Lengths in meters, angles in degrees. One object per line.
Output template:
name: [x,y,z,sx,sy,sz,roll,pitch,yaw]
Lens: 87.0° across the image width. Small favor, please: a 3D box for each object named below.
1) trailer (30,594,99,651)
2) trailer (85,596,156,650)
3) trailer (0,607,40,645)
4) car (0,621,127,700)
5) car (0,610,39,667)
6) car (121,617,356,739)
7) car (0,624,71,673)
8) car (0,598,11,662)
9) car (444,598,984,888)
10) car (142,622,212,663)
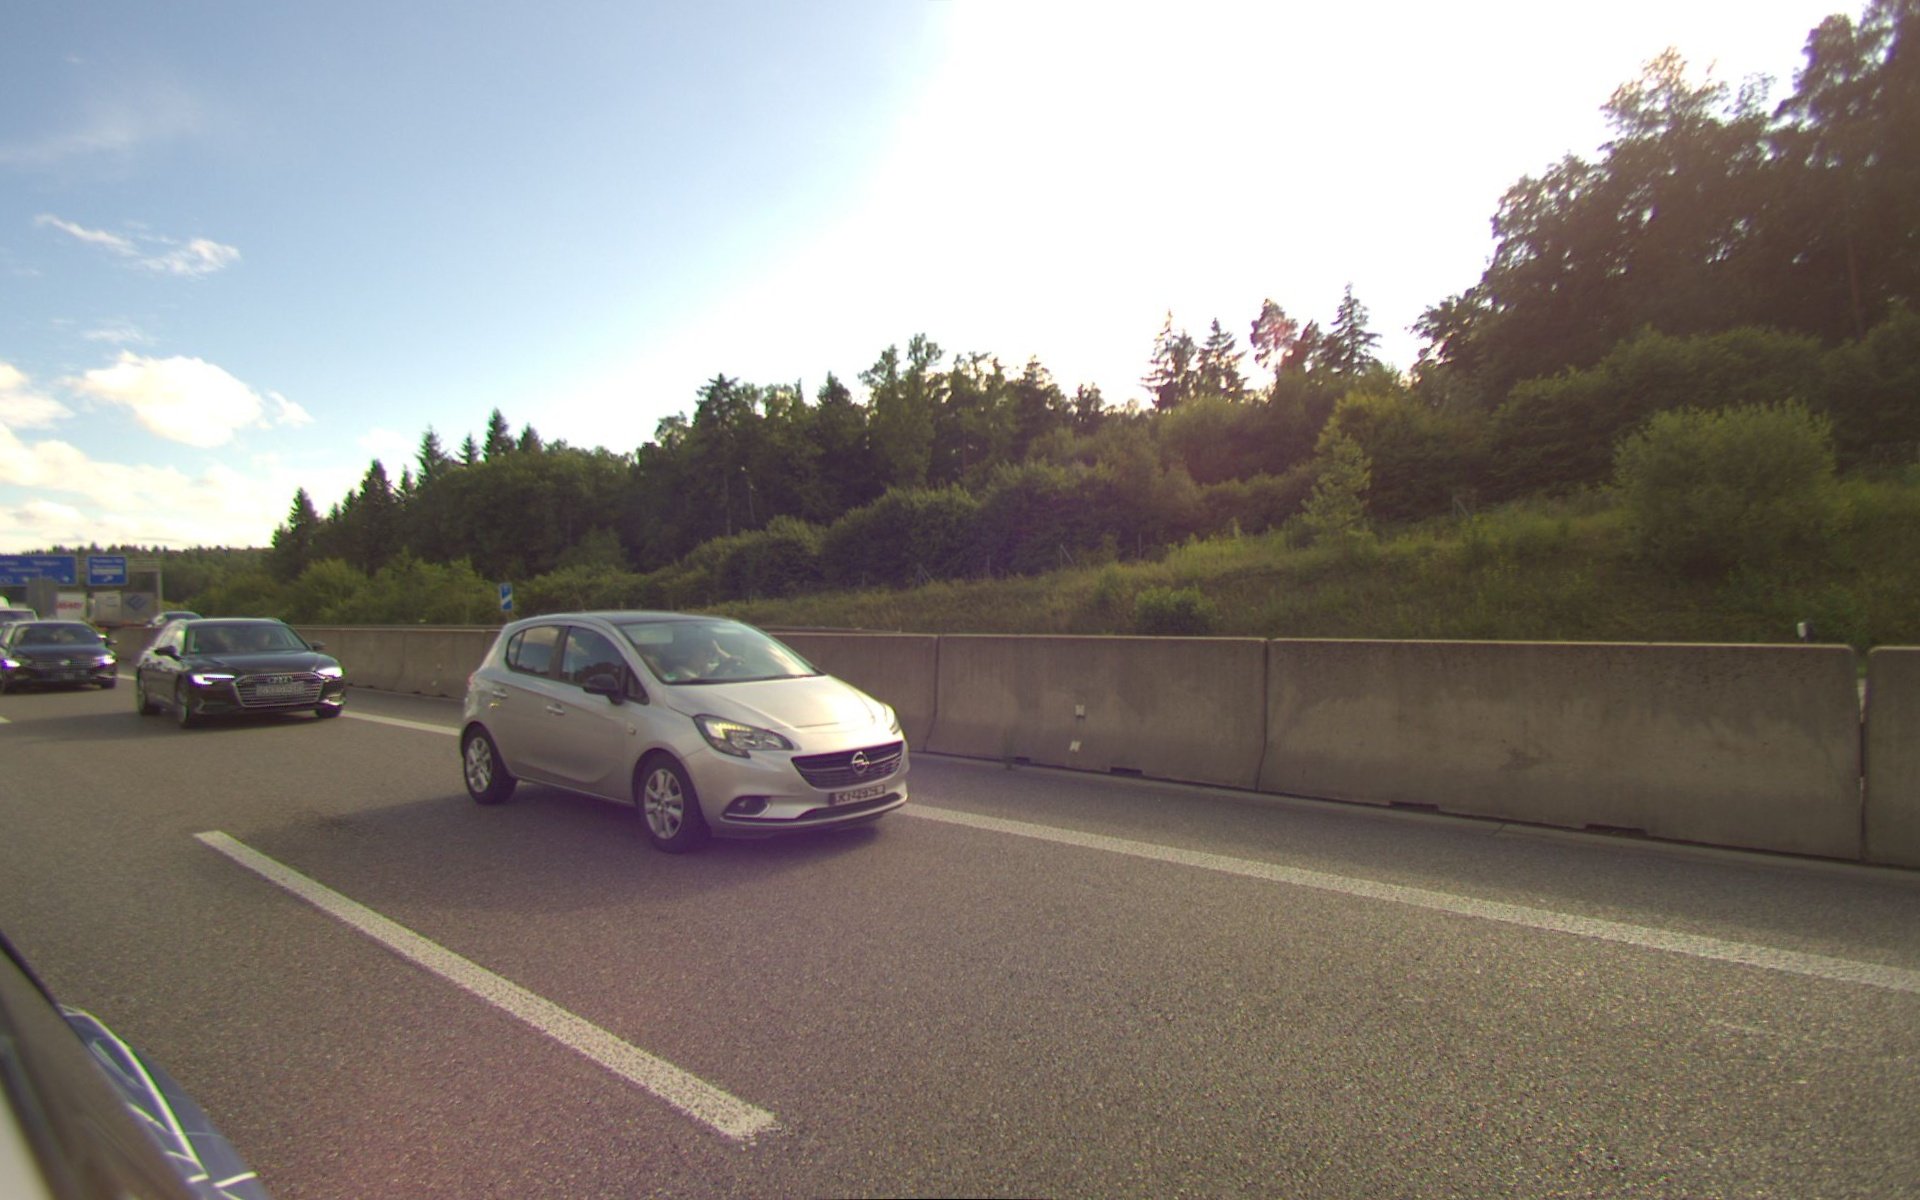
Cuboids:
trailer: [-85.688,2.085,96.704,13.826,5.112,3.056,-1,0,41]
trailer: [-80.543,2.109,96.946,14.646,4.866,2.896,-1,0,41]
trailer: [-138.232,3.715,148.646,13.828,5.320,3.011,-1,0,41]
car: [-19.391,1.206,21.661,4.569,1.489,1.890,-1,-1,44]
car: [-35.248,1.384,36.948,4.846,1.980,1.922,-1,-1,42]
car: [-10.775,1.031,14.954,4.851,1.483,1.862,-1,-1,42]
car: [-29.952,1.526,32.402,3.992,1.442,1.785,-1,-1,42]
car: [-41.461,1.268,42.346,5.859,2.592,2.027,-1,-2,42]
car: [-1.931,0.782,7.173,4.039,1.477,1.728,-2,-2,41]
car: [-37.793,2.003,48.796,4.622,1.823,1.833,-1,-1,41]
